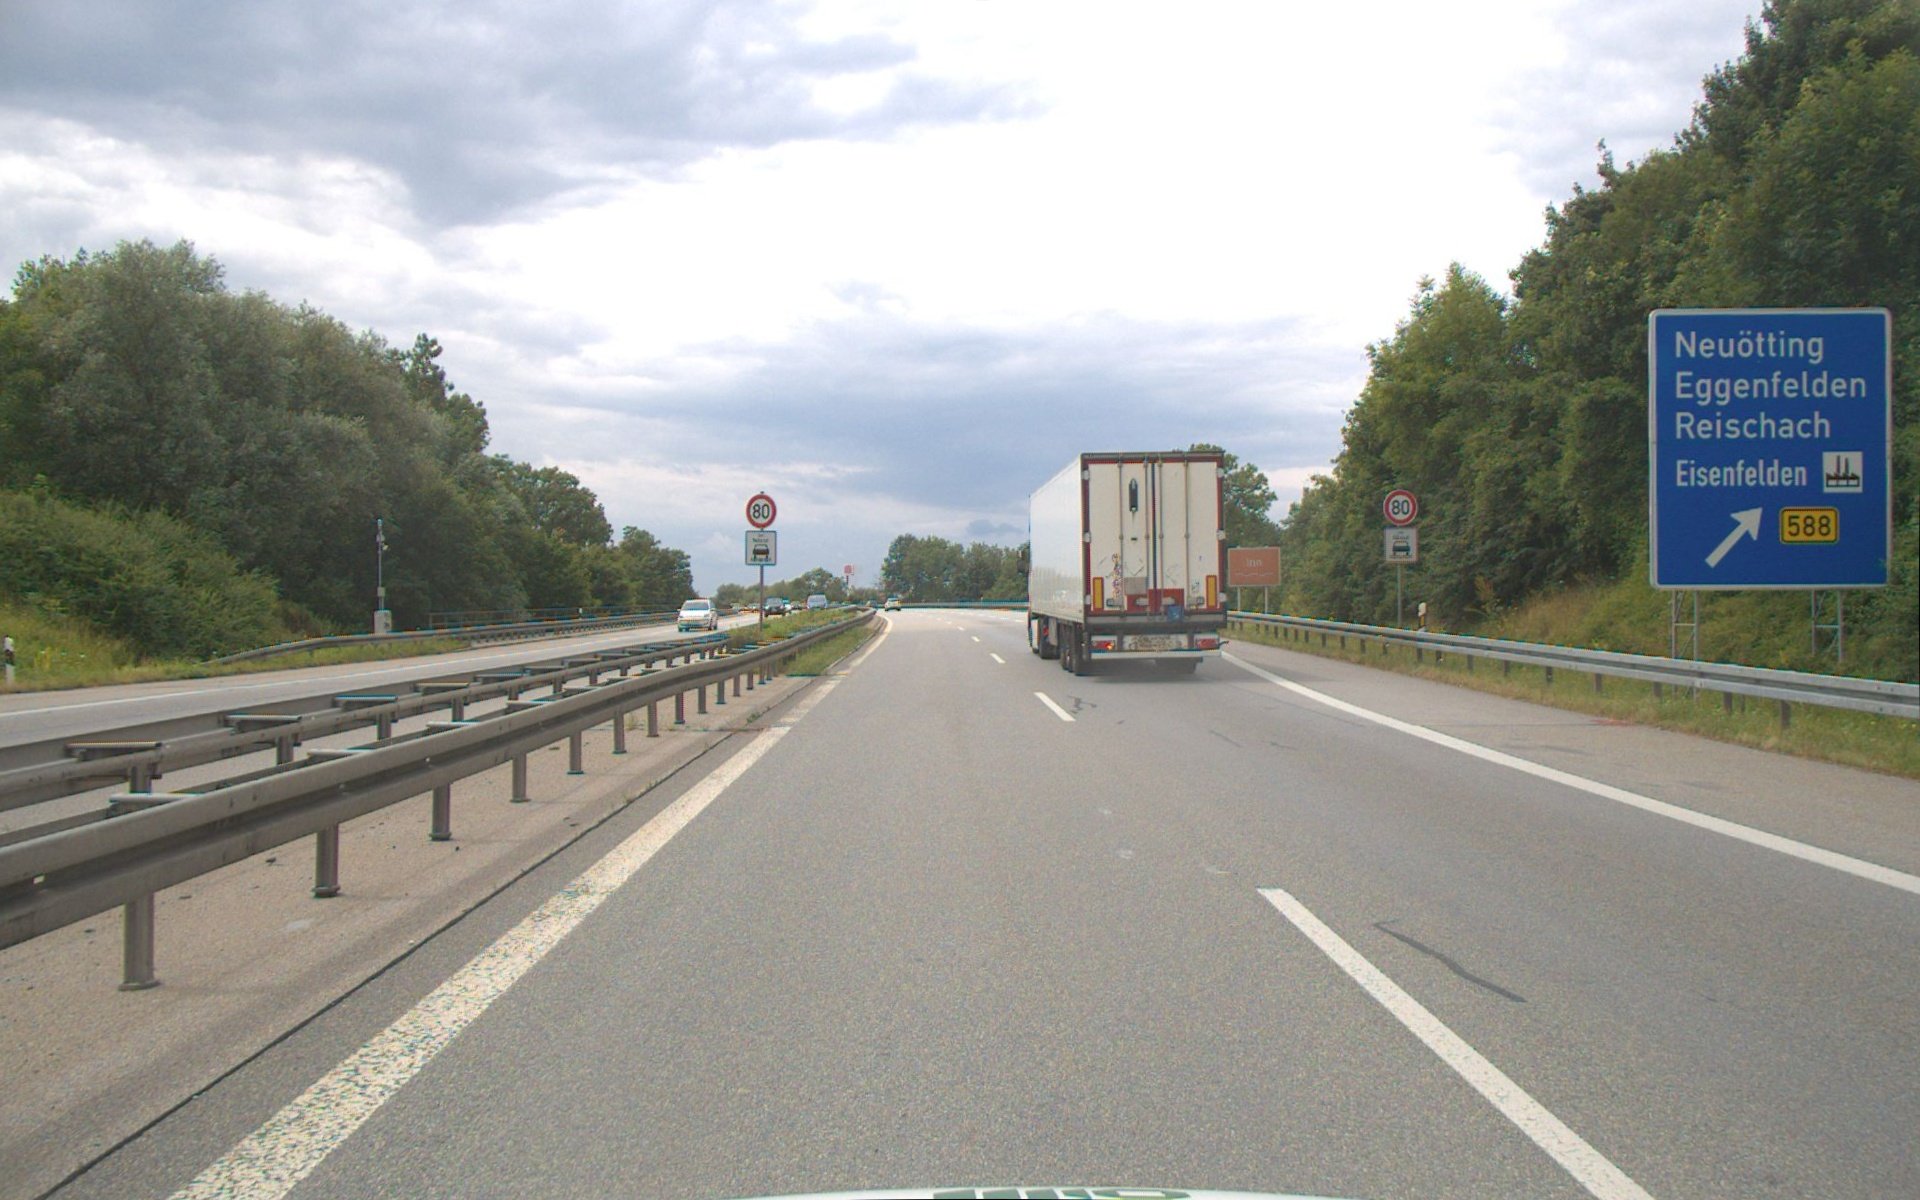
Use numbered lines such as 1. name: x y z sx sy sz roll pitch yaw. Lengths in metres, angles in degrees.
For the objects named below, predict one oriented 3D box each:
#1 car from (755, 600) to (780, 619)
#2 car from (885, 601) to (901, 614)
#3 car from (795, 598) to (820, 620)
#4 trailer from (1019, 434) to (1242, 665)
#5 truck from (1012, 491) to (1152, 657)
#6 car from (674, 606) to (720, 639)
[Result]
1. car: -16.680 0.830 143.564 1.694 1.587 4.330 -2 0 -1
2. car: -8.828 1.004 217.924 1.865 1.669 4.391 -1 -1 -4
3. car: -12.558 0.738 136.332 1.690 1.679 4.222 -1 1 -1
4. trailer: 3.217 -0.885 35.653 3.000 3.959 13.786 -1 0 -1
5. truck: 3.048 -0.640 43.125 3.000 3.960 5.998 -1 0 -1
6. car: -12.809 1.093 80.745 1.616 1.518 4.281 0 0 -1
